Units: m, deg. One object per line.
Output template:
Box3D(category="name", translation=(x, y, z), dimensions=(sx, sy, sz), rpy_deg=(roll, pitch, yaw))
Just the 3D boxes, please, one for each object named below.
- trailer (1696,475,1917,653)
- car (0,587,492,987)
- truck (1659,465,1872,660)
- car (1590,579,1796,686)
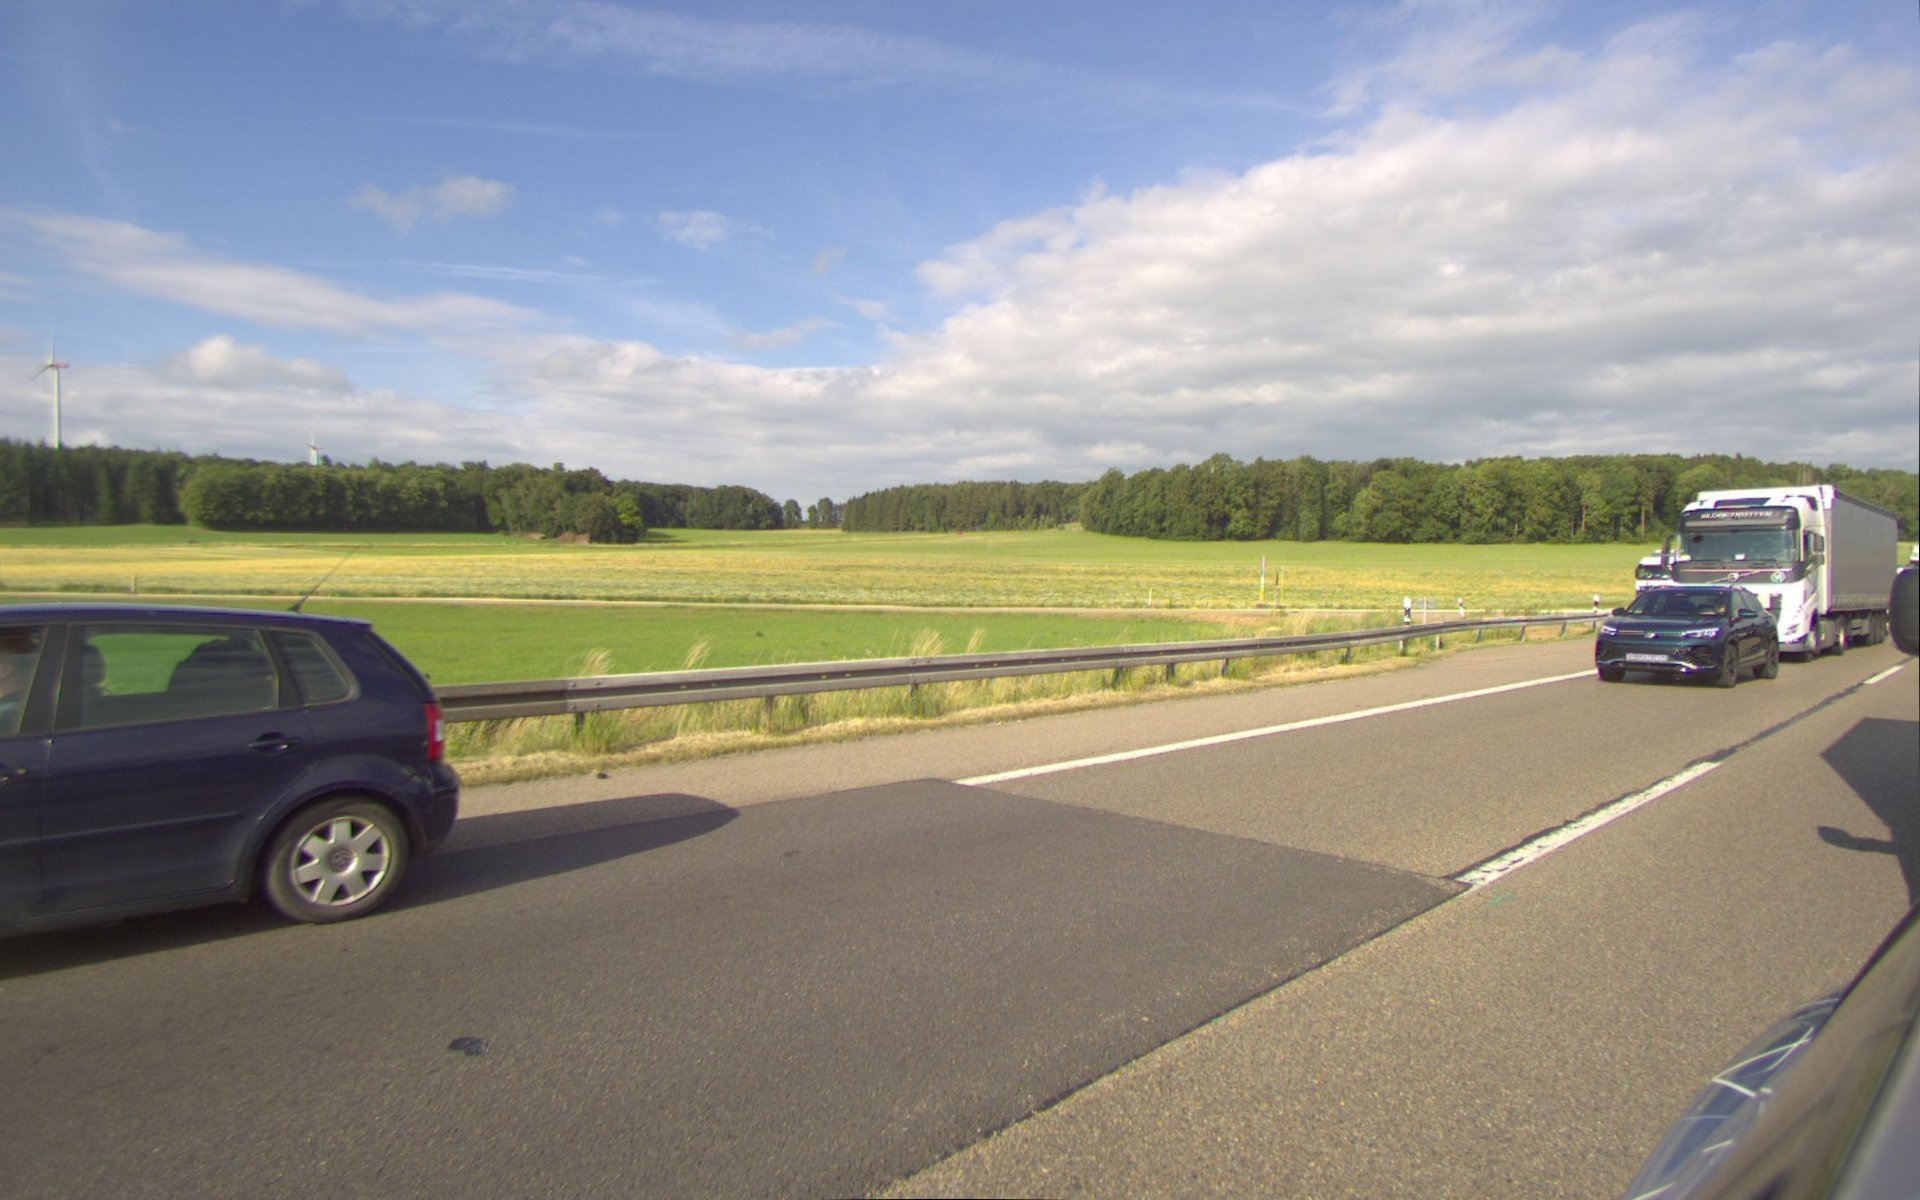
Box3D(category="trailer", translation=(23.654, -0.884, 27.913), dimensions=(11.916, 4.032, 2.824), rpy_deg=(-1, 0, -41))
Box3D(category="car", translation=(-4.198, 0.687, 4.278), dimensions=(3.710, 1.464, 1.712), rpy_deg=(-1, 1, -42))
Box3D(category="truck", translation=(19.312, -0.821, 24.138), dimensions=(6.387, 4.040, 2.840), rpy_deg=(-1, 0, -41))
Box3D(category="car", translation=(12.637, 0.461, 17.372), dimensions=(4.047, 1.616, 1.997), rpy_deg=(-1, 1, -41))
